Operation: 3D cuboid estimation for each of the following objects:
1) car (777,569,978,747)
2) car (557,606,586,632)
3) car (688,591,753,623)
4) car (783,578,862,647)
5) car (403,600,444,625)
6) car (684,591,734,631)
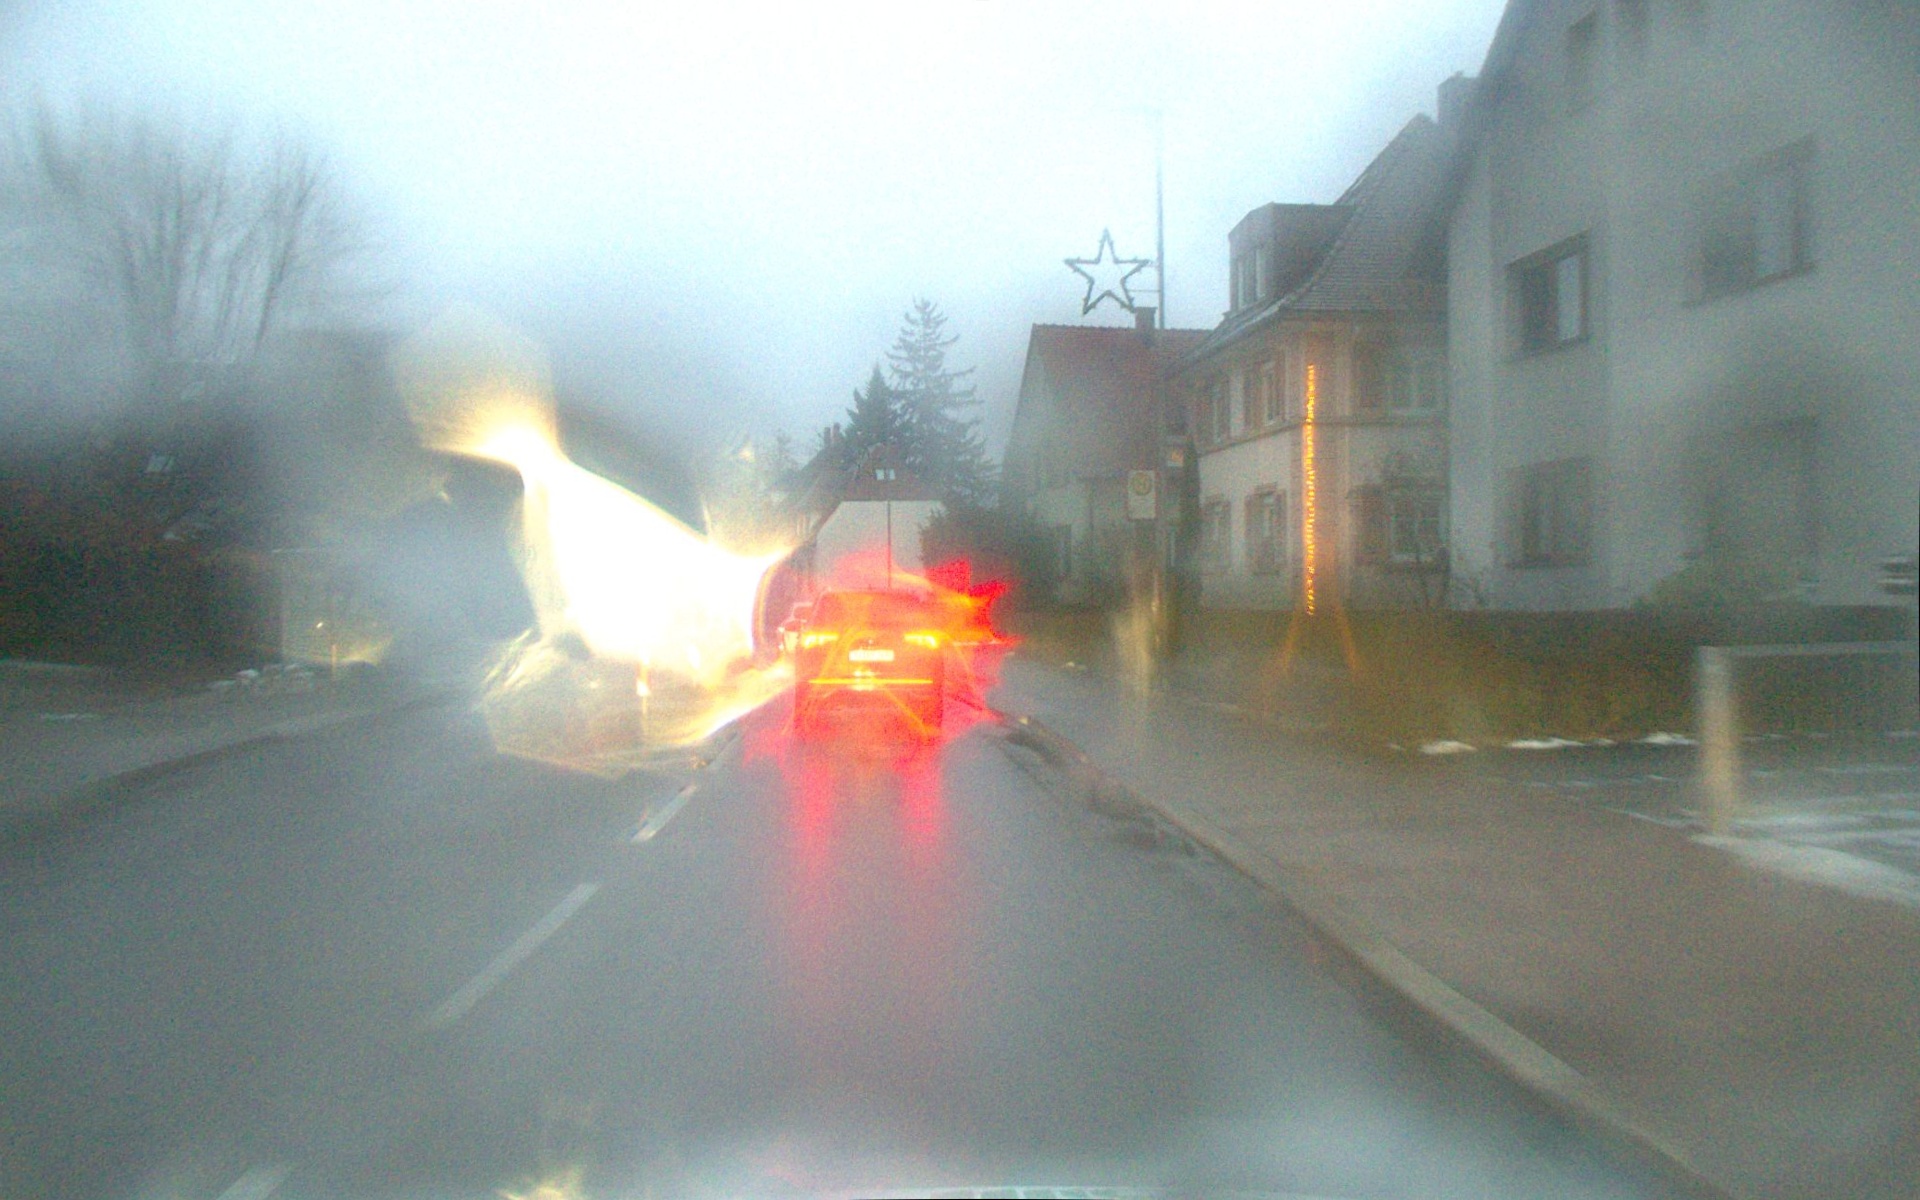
[{"bbox_3d":[-1.130,0.674,21.319,2.264,1.972,5.013,-1,0,-5],"label":"car"},{"bbox_3d":[-25.340,1.200,107.902,1.792,1.581,3.986,-2,0,-14],"label":"car"},{"bbox_3d":[-15.992,0.446,110.419,4.172,2.049,1.805,-1,0,-12],"label":"car"},{"bbox_3d":[-3.564,0.286,42.272,1.822,1.676,3.993,0,0,-8],"label":"car"},{"bbox_3d":[-31.518,0.764,97.074,1.755,1.417,3.966,2,-1,-26],"label":"car"},{"bbox_3d":[-12.916,0.583,85.011,2.269,1.972,5.003,-1,0,-12],"label":"car"}]
